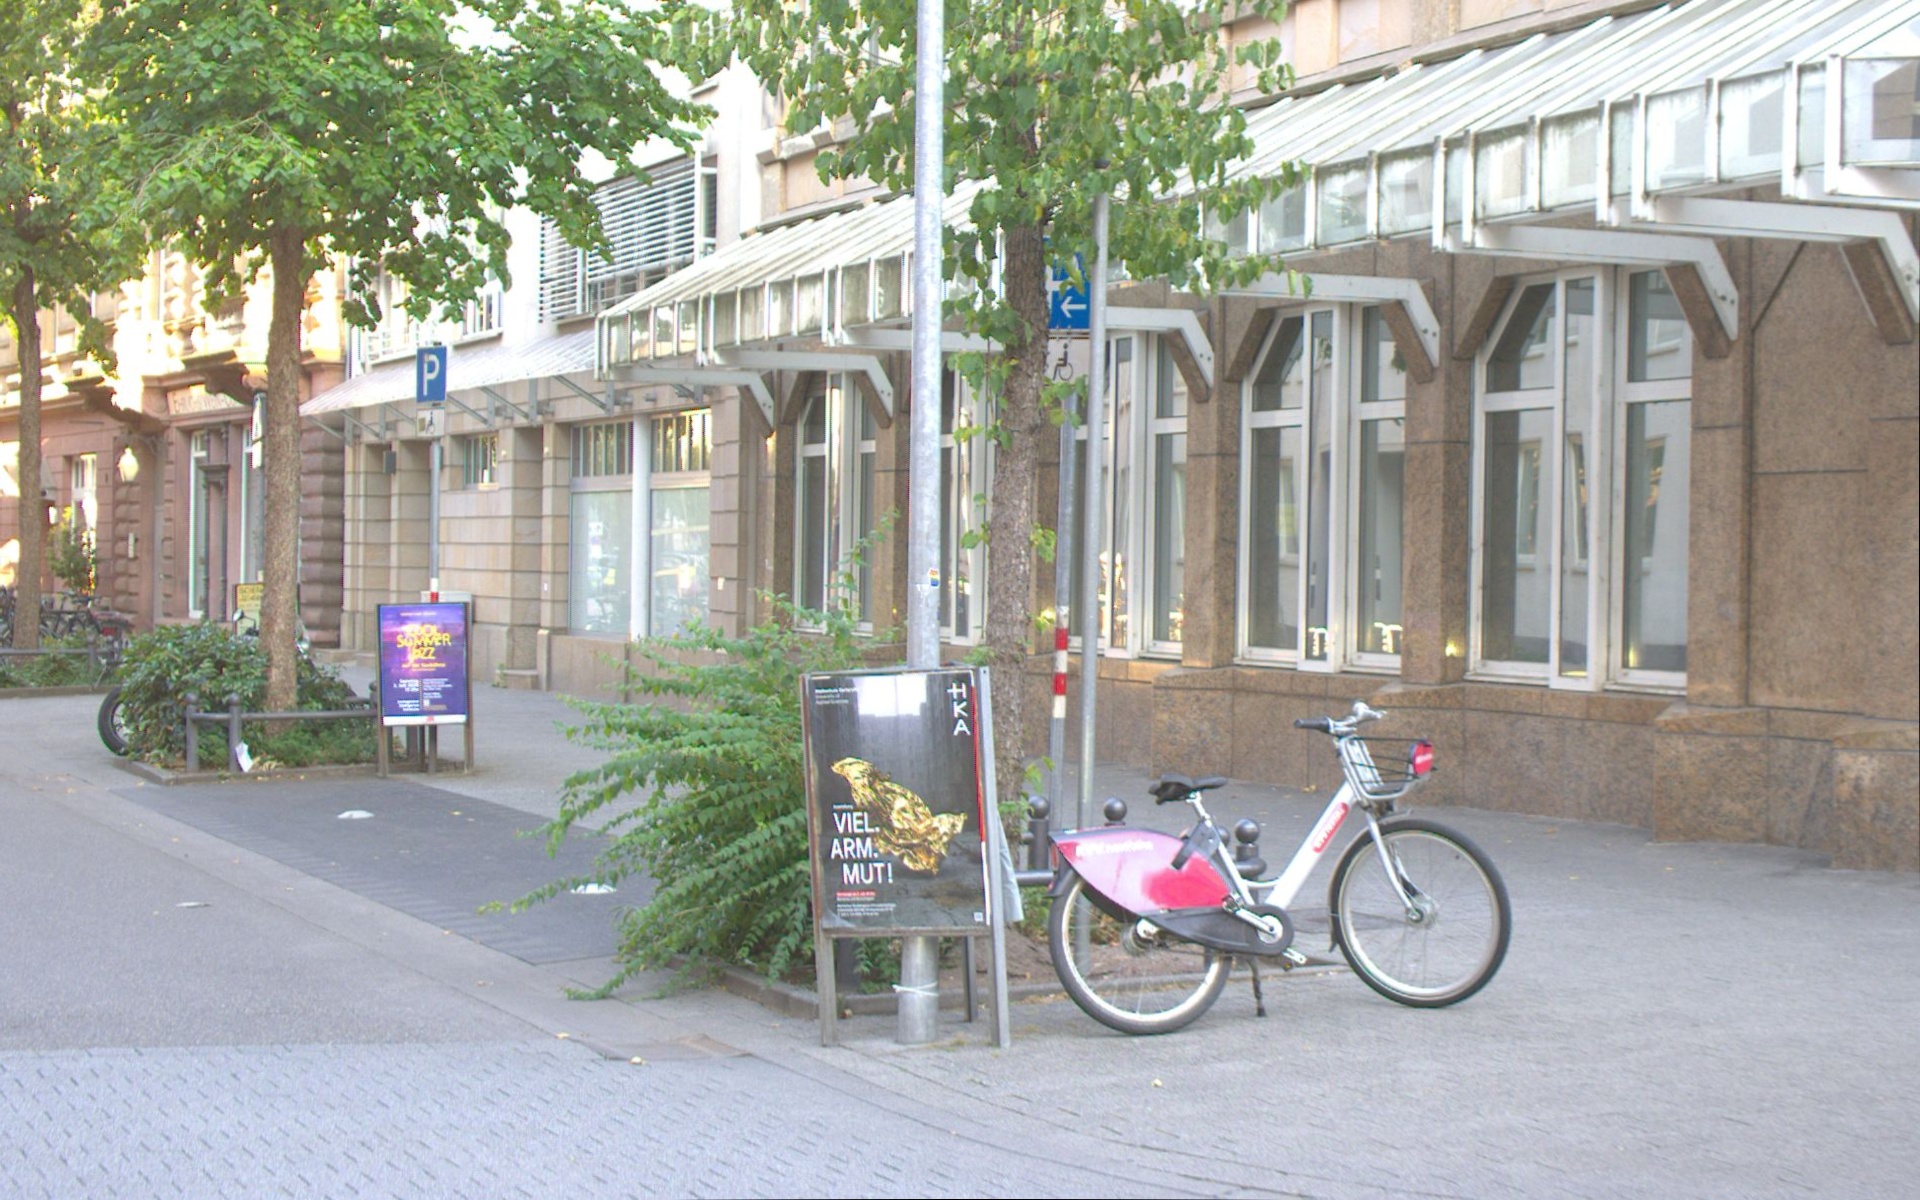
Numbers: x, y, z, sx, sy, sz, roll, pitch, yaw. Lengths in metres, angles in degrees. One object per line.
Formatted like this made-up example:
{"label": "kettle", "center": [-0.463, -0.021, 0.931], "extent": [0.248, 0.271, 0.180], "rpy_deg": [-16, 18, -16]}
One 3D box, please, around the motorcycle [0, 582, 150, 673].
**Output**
{"label": "motorcycle", "center": [-11.155, 0.329, 42.101], "extent": [0.590, 1.091, 2.473], "rpy_deg": [0, 0, 44]}

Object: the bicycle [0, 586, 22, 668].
{"label": "bicycle", "center": [-13.303, 0.345, 44.583], "extent": [2.152, 1.057, 0.591], "rpy_deg": [0, 0, -9]}

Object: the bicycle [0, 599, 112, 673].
{"label": "bicycle", "center": [-11.769, 0.448, 43.101], "extent": [2.153, 0.922, 0.590], "rpy_deg": [0, 0, -39]}

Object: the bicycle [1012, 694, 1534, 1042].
{"label": "bicycle", "center": [1.053, 0.897, 11.750], "extent": [1.655, 1.047, 0.663], "rpy_deg": [-2, 2, -5]}

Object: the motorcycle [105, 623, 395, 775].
{"label": "motorcycle", "center": [-5.520, 0.757, 26.791], "extent": [2.152, 1.147, 0.494], "rpy_deg": [0, 0, -26]}
